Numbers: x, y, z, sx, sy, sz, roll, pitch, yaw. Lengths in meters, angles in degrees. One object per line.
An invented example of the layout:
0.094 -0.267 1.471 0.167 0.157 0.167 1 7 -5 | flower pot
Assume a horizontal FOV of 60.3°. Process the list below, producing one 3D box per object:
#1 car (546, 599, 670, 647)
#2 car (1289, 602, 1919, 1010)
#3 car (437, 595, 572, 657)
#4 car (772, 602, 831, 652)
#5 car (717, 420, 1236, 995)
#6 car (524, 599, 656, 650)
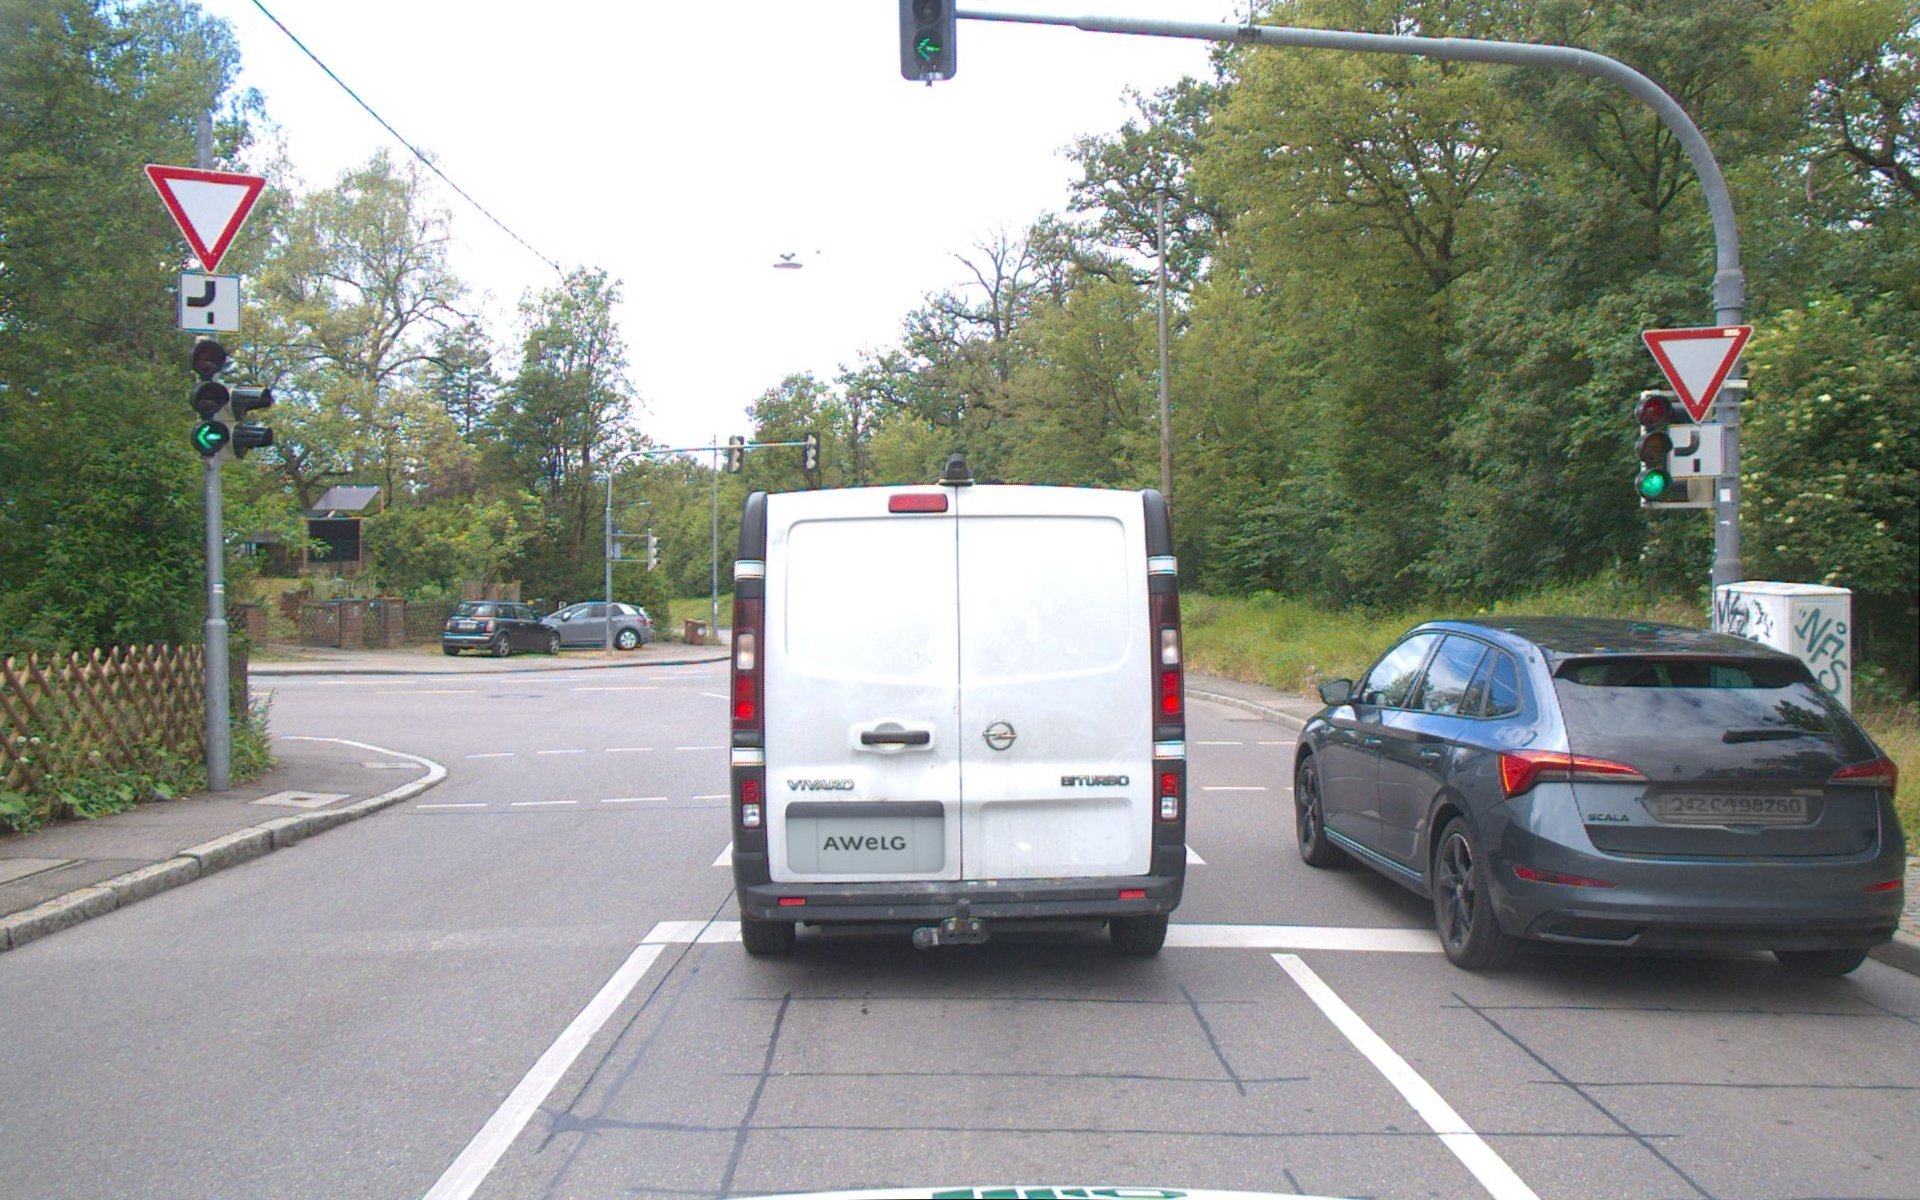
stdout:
-12.054 0.759 56.636 4.022 1.580 1.845 0 1 -18 | car
2.939 0.753 8.085 1.756 1.476 3.998 0 0 -2 | car
-11.869 0.667 43.327 1.662 1.474 3.544 2 0 19 | car
-5.112 0.845 53.528 1.820 1.533 3.996 0 0 -5 | car
-0.041 0.400 8.441 1.878 2.089 4.611 2 0 -3 | car
-11.997 0.784 53.570 4.022 1.580 1.845 0 1 -18 | car
